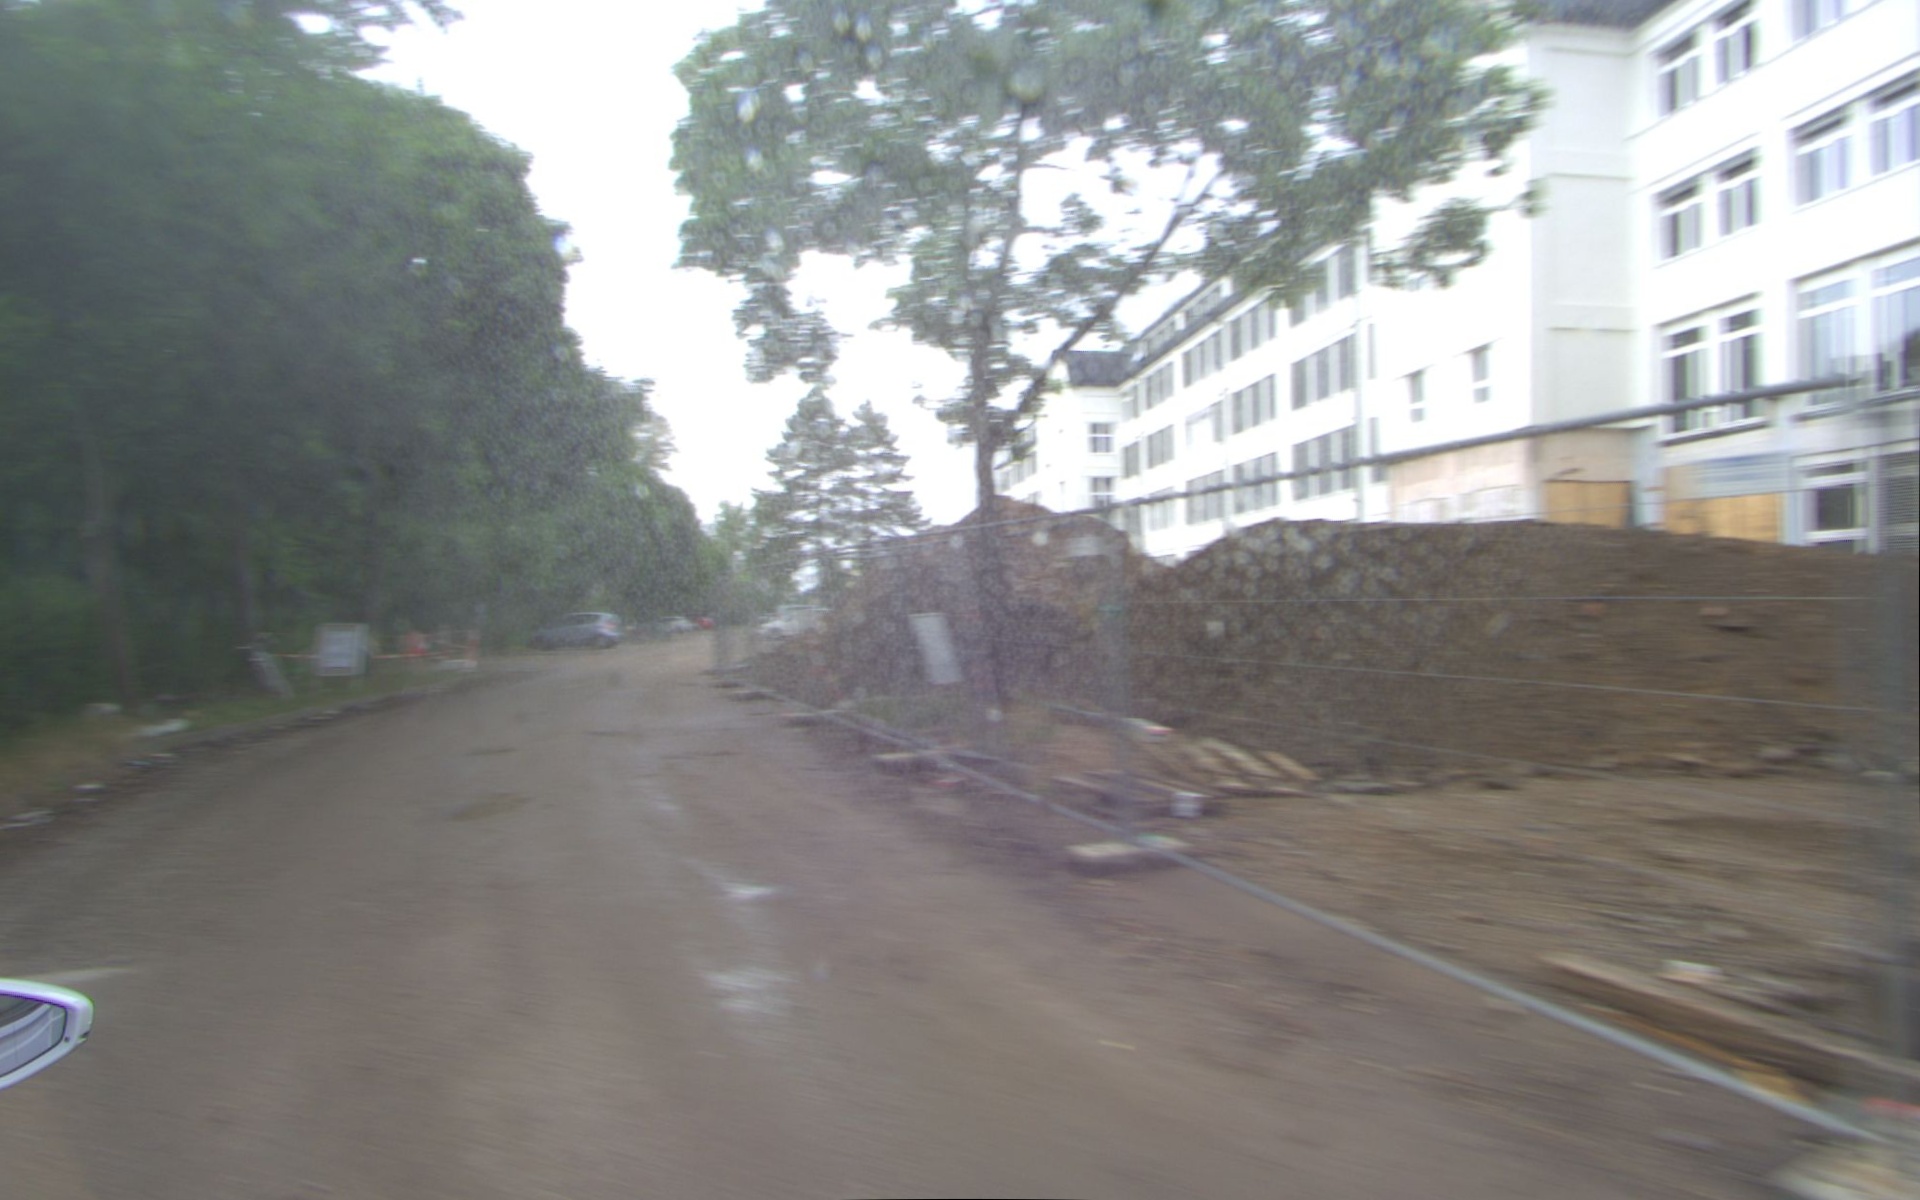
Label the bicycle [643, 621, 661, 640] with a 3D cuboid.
[{"bbox_3d":[-16.712,1.626,54.364,0.760,0.991,2.026,0,0,-22],"label":"bicycle"}]

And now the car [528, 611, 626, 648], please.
[{"bbox_3d":[-16.684,1.258,43.786,3.640,1.520,1.867,0,0,-8],"label":"car"}]

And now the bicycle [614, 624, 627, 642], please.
[{"bbox_3d":[-18.954,1.821,55.831,0.580,0.991,2.026,-1,0,-22],"label":"bicycle"}]

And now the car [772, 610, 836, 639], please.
[{"bbox_3d":[-10.000,1.531,63.985,3.925,1.806,1.928,0,0,-12],"label":"car"}]

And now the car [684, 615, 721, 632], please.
[{"bbox_3d":[-26.192,2.406,101.903,3.585,1.684,1.780,0,0,-11],"label":"car"}]

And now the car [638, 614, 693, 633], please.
[{"bbox_3d":[-24.718,1.932,84.026,3.957,1.528,1.982,0,0,-42],"label":"car"}]

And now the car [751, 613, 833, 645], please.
[{"bbox_3d":[-8.532,1.481,51.116,3.976,1.553,1.848,-1,0,-4],"label":"car"}]

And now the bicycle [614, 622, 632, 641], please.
[{"bbox_3d":[-18.097,1.667,53.750,0.760,0.991,2.026,0,0,-22],"label":"bicycle"}]

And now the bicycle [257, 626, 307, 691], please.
[{"bbox_3d":[-10.275,0.874,15.203,0.414,0.916,1.149,6,-3,-27],"label":"bicycle"}]

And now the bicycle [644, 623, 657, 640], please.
[{"bbox_3d":[-18.399,1.861,59.445,0.580,0.991,2.026,-1,0,-22],"label":"bicycle"}]
